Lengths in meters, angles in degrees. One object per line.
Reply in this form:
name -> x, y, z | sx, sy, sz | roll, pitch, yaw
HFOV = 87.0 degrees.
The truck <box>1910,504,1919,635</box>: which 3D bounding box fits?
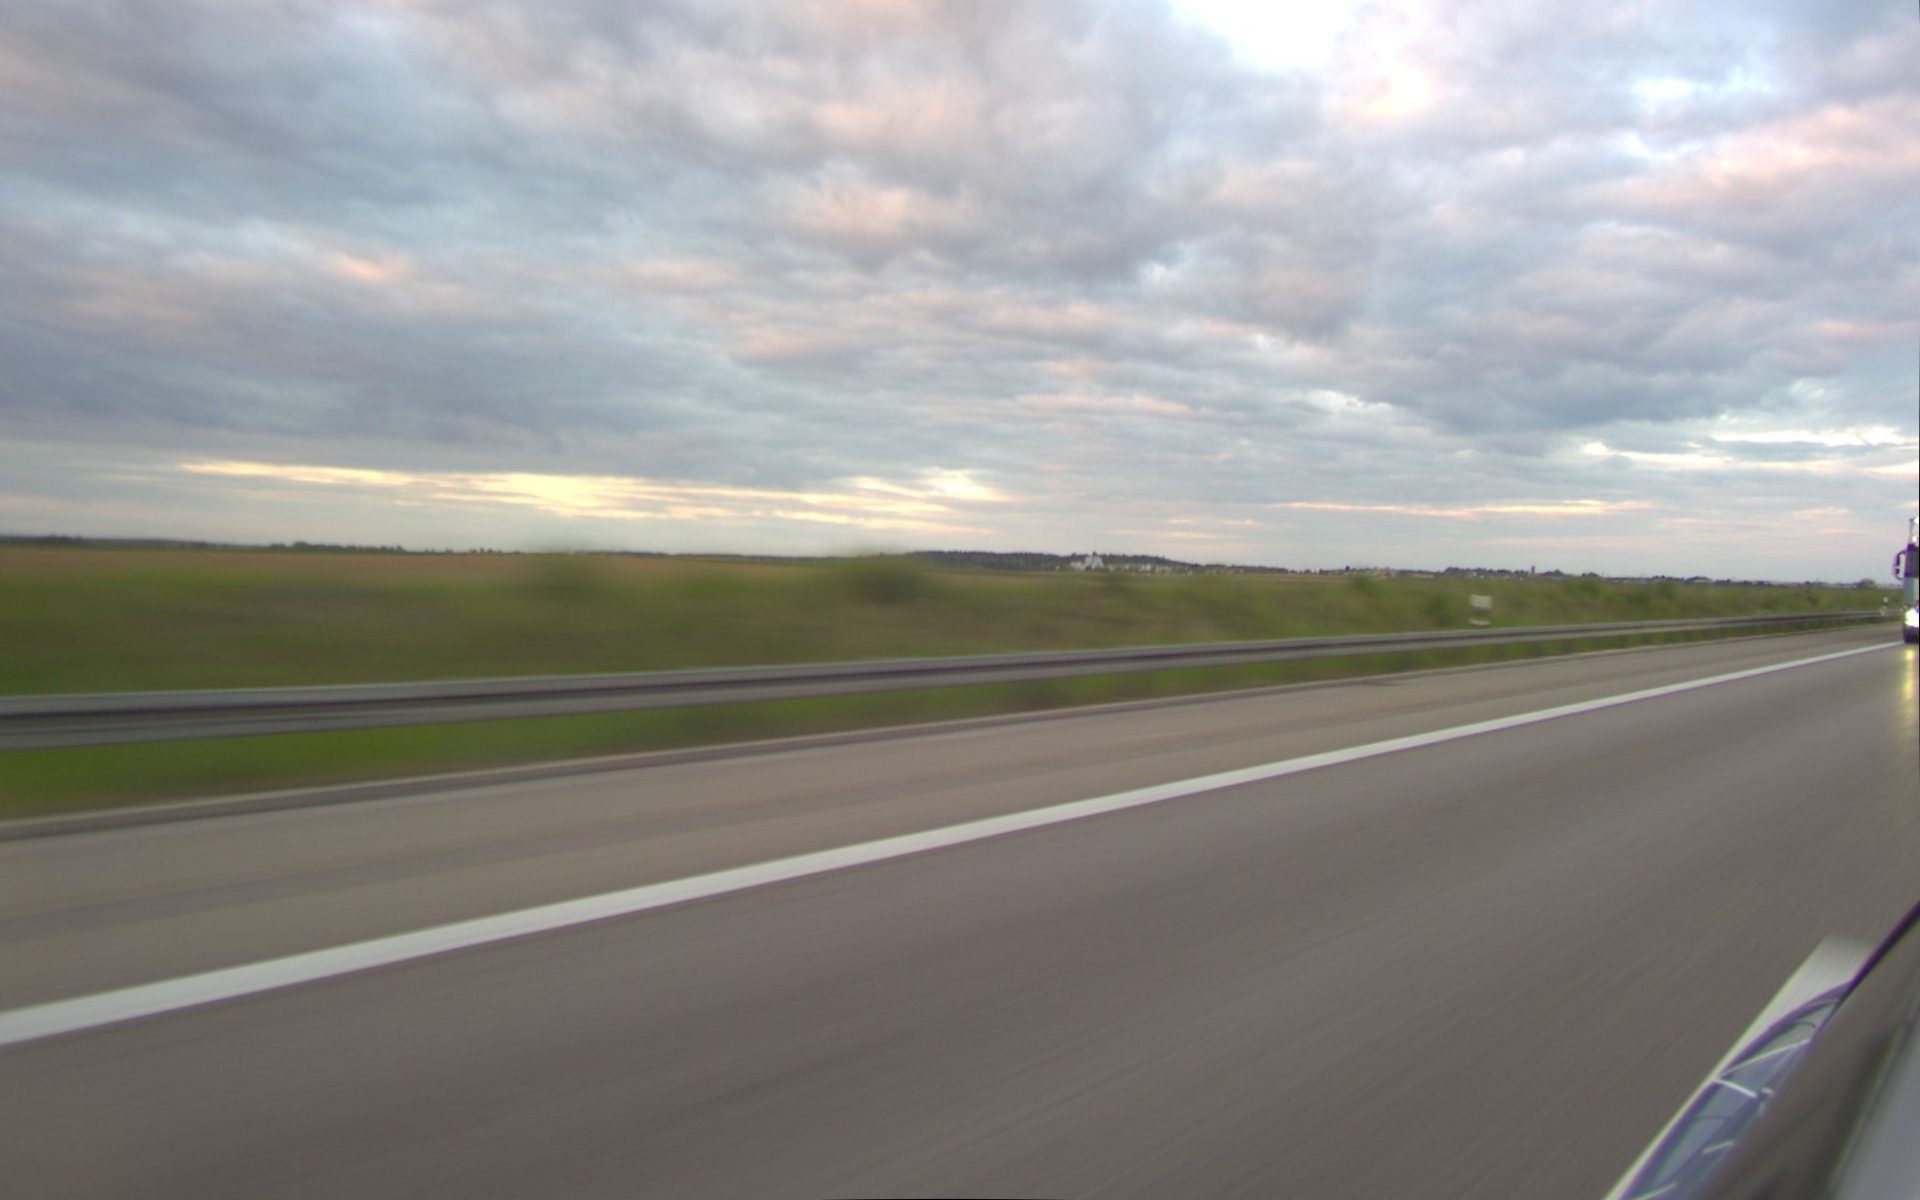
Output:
truck -> 32.643, -0.932, 32.364 | 5.755, 4.073, 2.596 | 0, 1, -40
